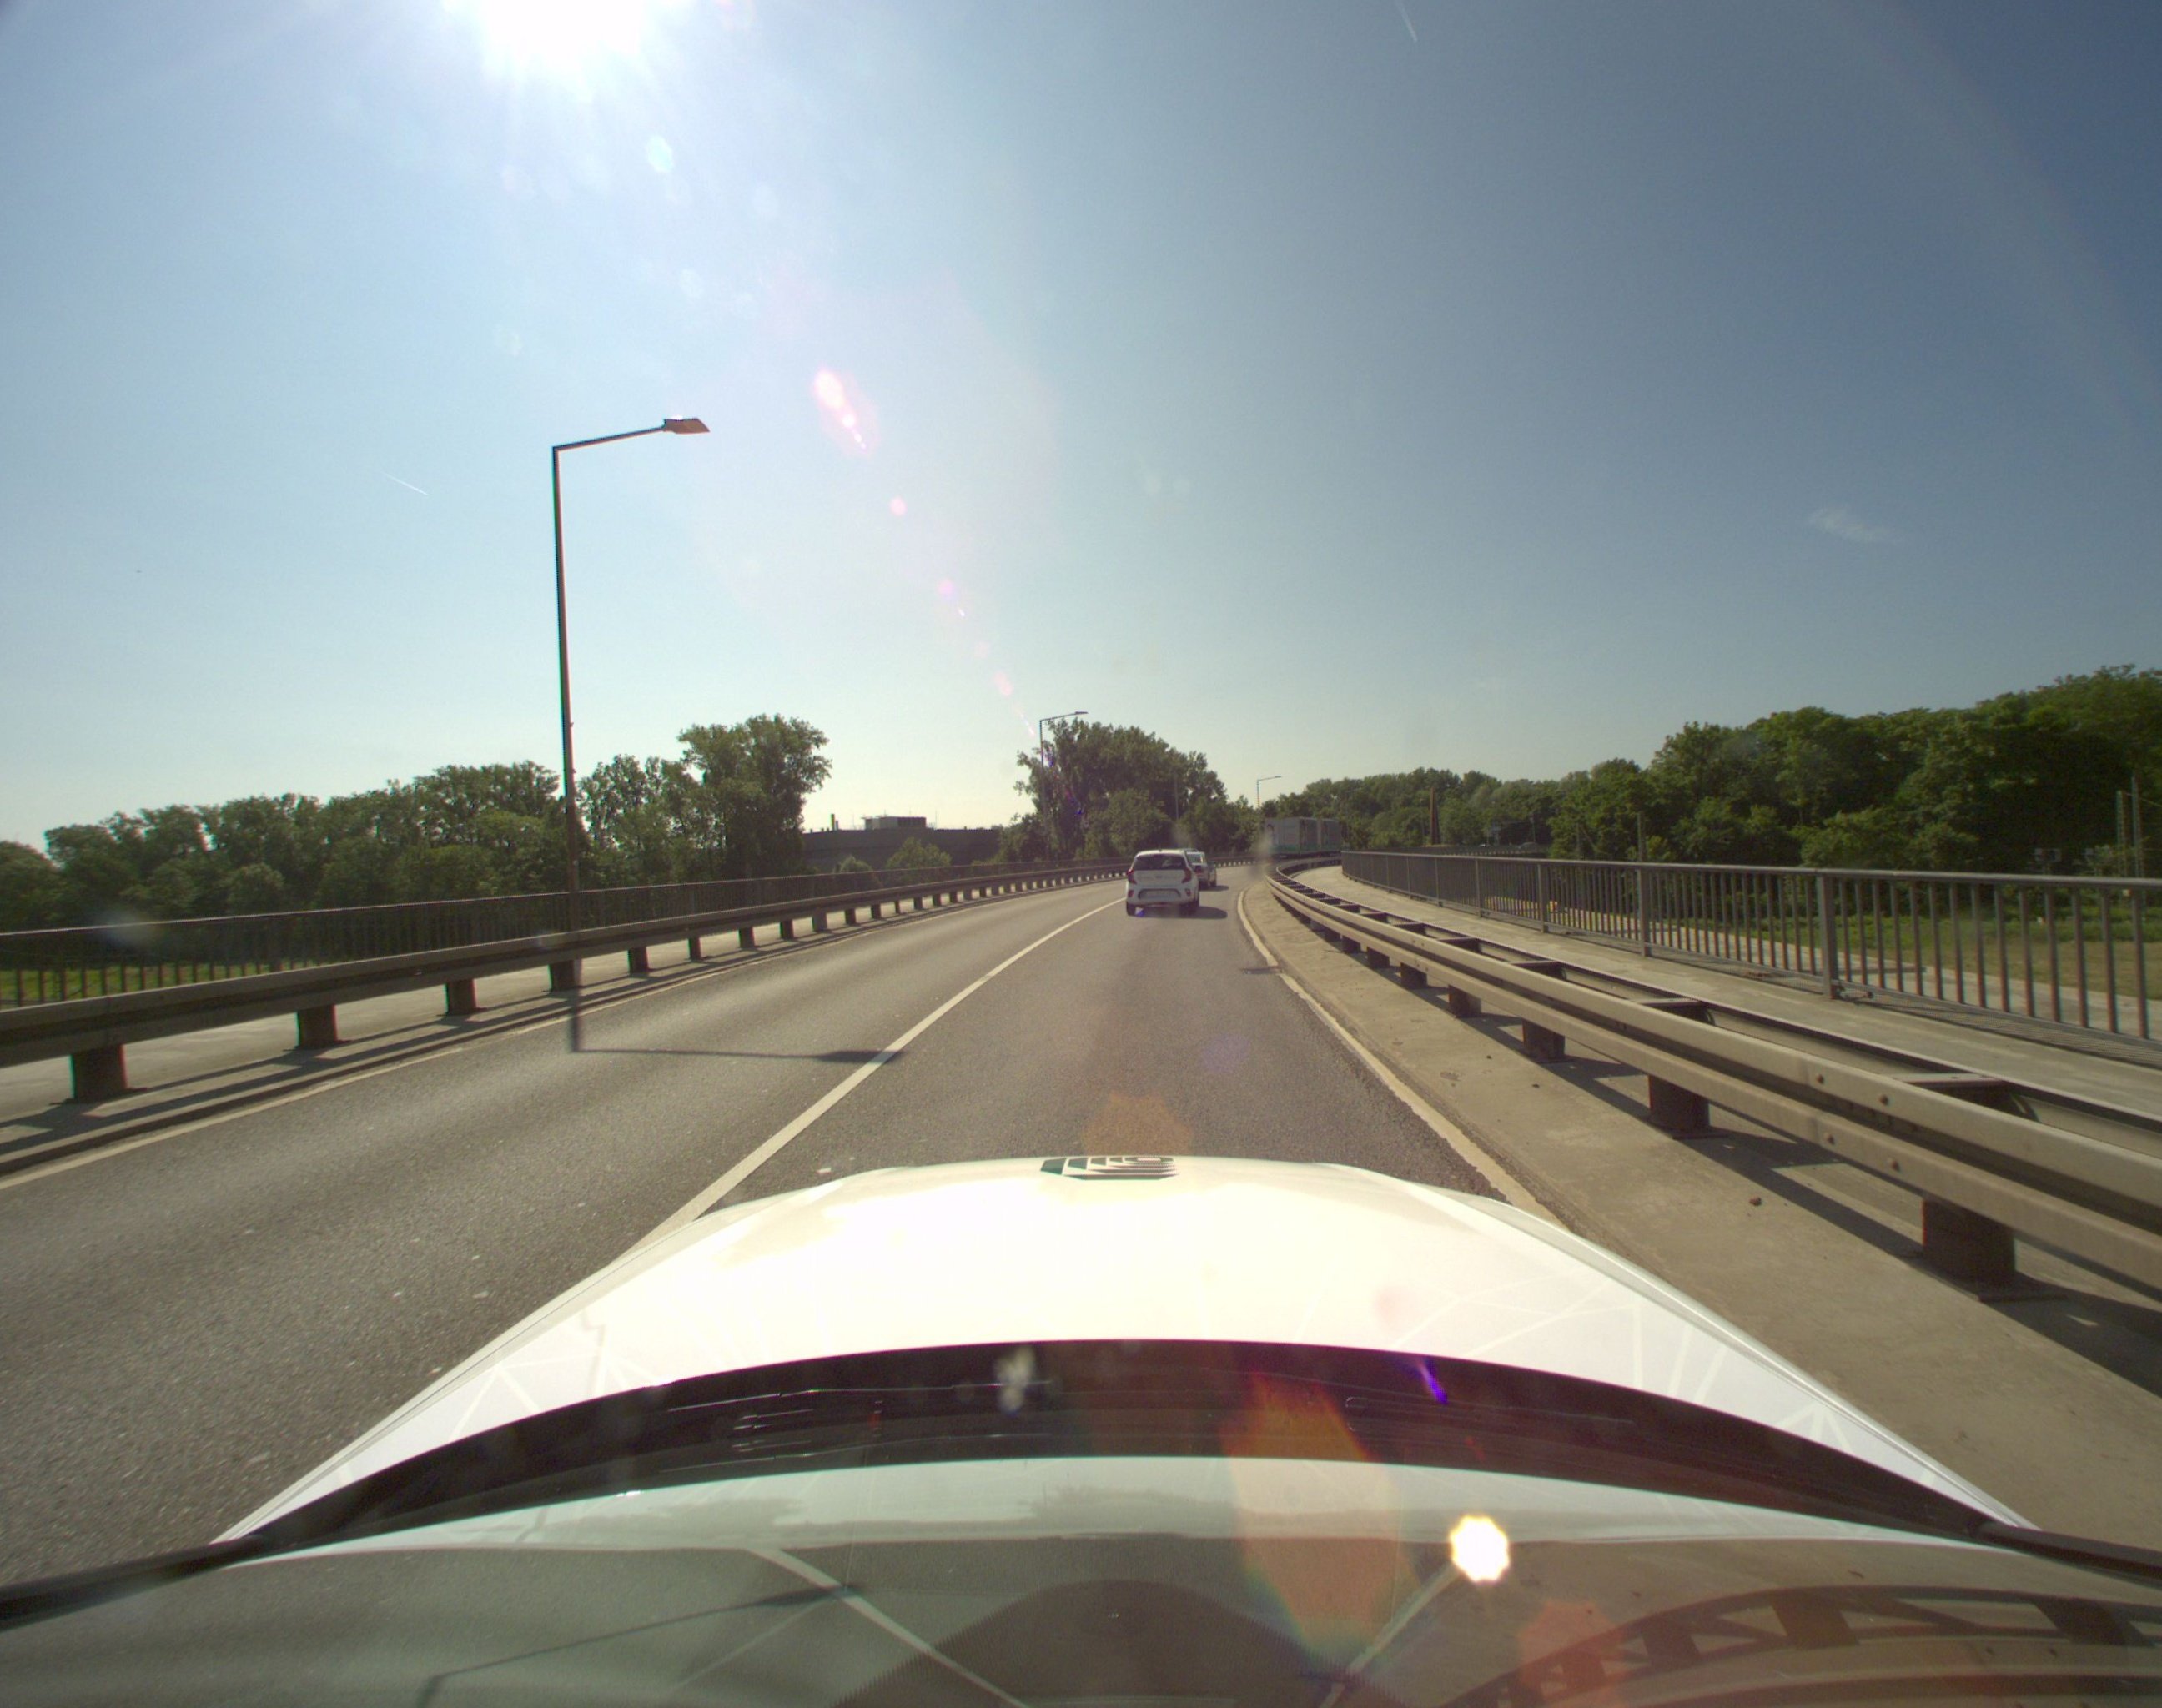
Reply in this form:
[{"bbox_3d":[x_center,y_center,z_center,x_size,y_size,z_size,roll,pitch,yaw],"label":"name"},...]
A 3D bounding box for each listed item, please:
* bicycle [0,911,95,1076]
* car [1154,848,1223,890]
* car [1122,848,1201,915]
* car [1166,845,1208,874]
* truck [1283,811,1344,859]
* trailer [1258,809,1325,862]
[{"bbox_3d":[-8.002,1.017,5.203,0.609,1.135,2.152,-5,-1,5],"label":"bicycle"},{"bbox_3d":[4.264,0.522,31.739,1.924,1.486,4.921,-1,0,16],"label":"car"},{"bbox_3d":[2.087,0.613,20.231,1.691,1.494,4.010,0,0,9],"label":"car"},{"bbox_3d":[6.689,0.293,50.822,1.718,1.625,4.325,-2,1,19],"label":"car"},{"bbox_3d":[19.734,-1.665,68.625,3.230,3.757,8.422,1,2,28],"label":"truck"},{"bbox_3d":[16.036,-1.440,61.541,3.194,3.757,7.872,1,2,27],"label":"trailer"}]
